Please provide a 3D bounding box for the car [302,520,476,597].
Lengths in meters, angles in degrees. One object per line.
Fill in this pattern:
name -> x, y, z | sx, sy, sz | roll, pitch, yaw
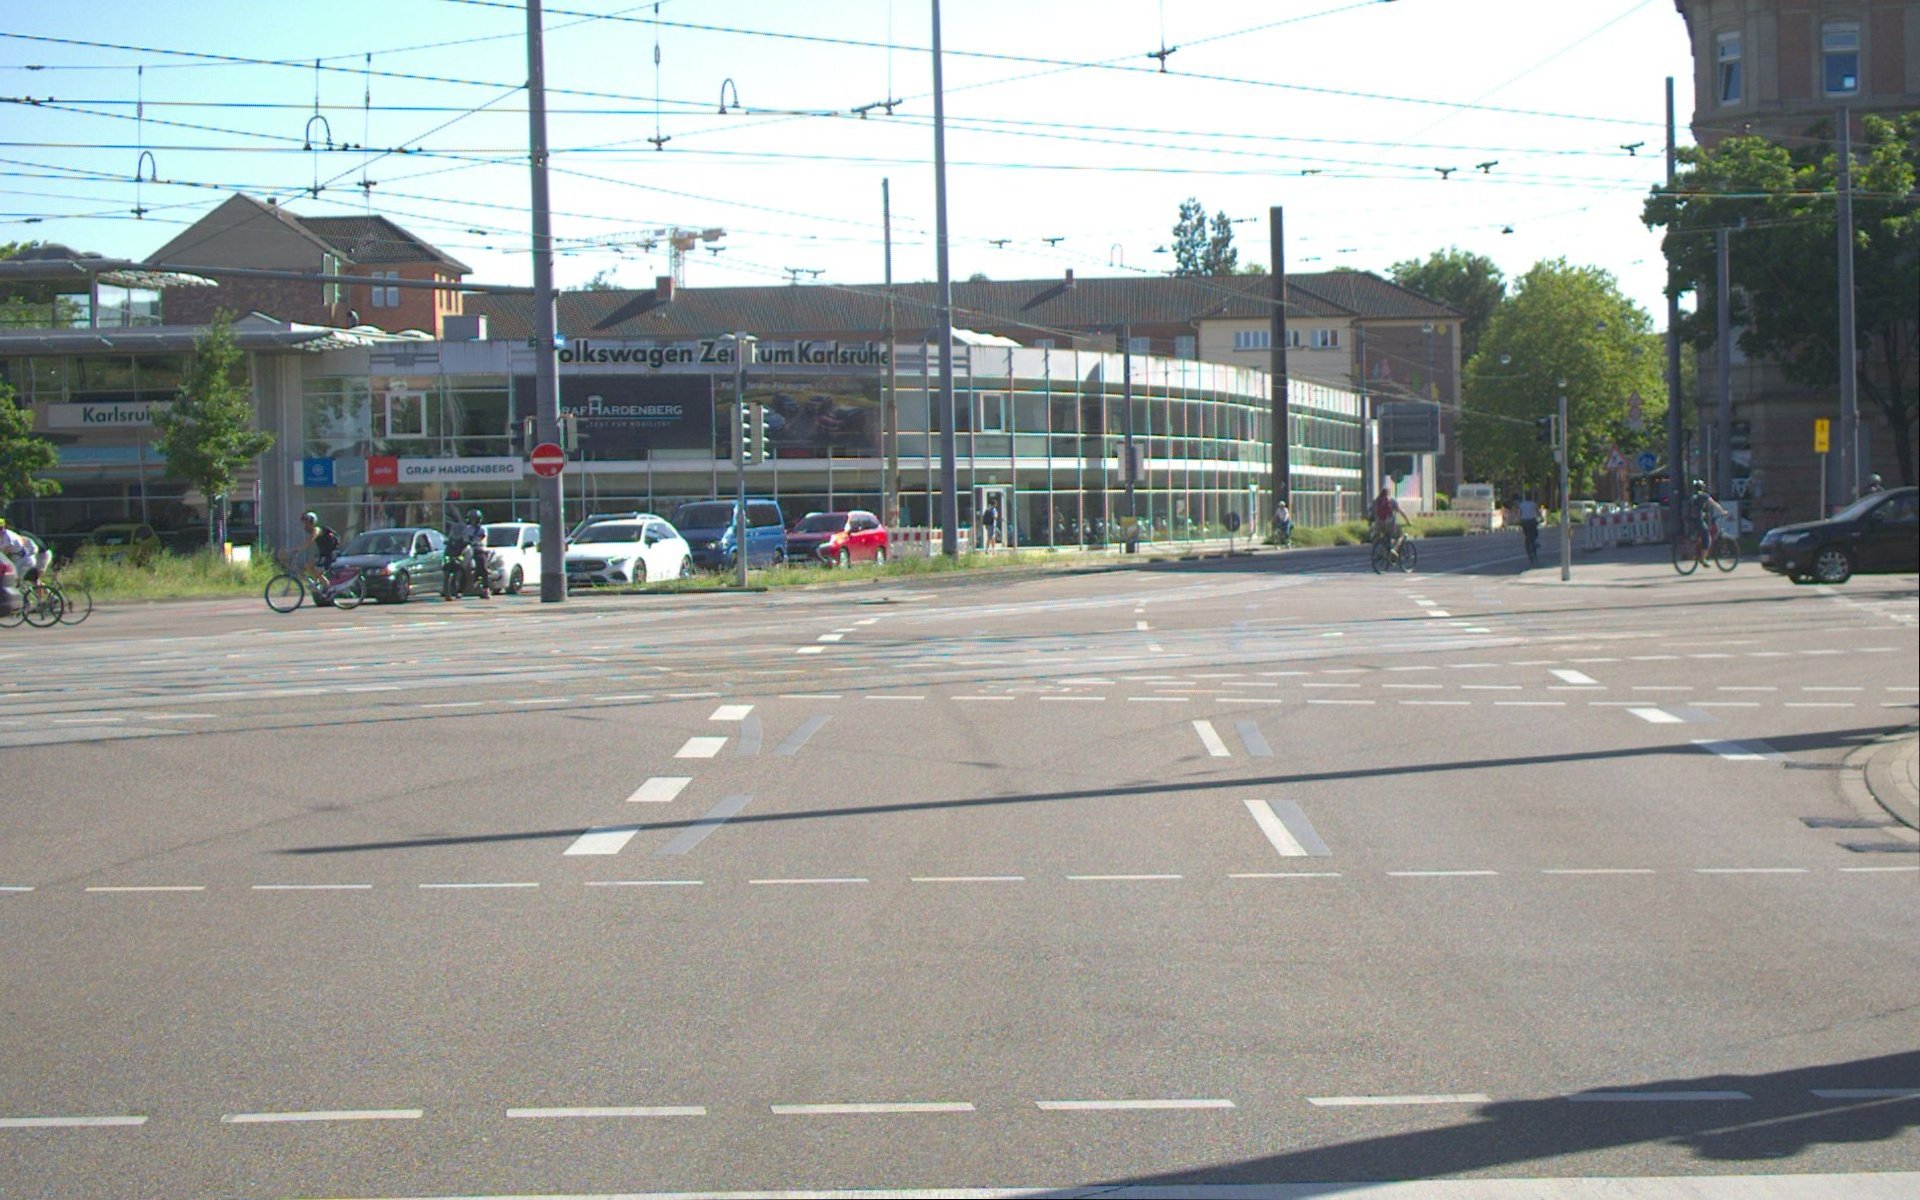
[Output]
car -> -10.697, -0.797, 64.635 | 1.705, 1.349, 3.698 | 0, 2, 17

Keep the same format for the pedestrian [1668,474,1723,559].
pedestrian -> 14.301, -1.624, 66.835 | 0.716, 1.626, 0.758 | -2, 2, -42

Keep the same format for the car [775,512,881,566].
car -> -3.421, -1.606, 89.762 | 1.627, 1.359, 3.683 | -1, 1, 17

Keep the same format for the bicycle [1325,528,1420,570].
bicycle -> 8.828, -1.097, 73.552 | 1.924, 0.867, 0.745 | -1, 1, -27

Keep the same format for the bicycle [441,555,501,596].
bicycle -> -9.096, -0.465, 63.978 | 0.423, 0.715, 1.633 | -1, 2, 17

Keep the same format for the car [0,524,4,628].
car -> -15.166, -0.294, 46.439 | 4.209, 1.396, 1.859 | -1, 2, -19

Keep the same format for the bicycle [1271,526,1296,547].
bicycle -> 11.766, -2.309, 124.961 | 0.423, 0.715, 1.473 | 0, 2, 26

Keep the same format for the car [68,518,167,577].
car -> -25.402, -1.592, 103.801 | 1.966, 1.700, 4.083 | -1, 1, 0

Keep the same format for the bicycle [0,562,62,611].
bicycle -> -15.206, -0.214, 54.854 | 1.629, 0.756, 0.424 | -2, 1, -22

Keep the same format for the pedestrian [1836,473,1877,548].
pedestrian -> 18.391, -1.839, 70.535 | 0.548, 1.511, 0.705 | 0, 2, 42

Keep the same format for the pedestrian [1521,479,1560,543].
pedestrian -> 14.020, -2.155, 83.036 | 0.747, 1.517, 0.717 | 0, 1, 24

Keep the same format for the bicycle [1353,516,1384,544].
bicycle -> 15.913, -2.738, 133.888 | 0.810, 1.041, 2.125 | -1, 1, 18

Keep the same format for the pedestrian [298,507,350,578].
pedestrian -> -10.985, -0.994, 59.398 | 0.793, 1.200, 0.560 | -1, 1, -18

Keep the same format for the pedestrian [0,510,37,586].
pedestrian -> -15.149, -0.825, 54.868 | 0.747, 1.200, 0.424 | -1, 1, -22

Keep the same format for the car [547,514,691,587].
car -> -6.782, -1.003, 68.661 | 1.627, 1.377, 3.735 | -1, 1, 15

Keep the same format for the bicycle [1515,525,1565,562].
bicycle -> 13.997, -1.368, 82.975 | 0.744, 0.867, 1.929 | 0, 1, 23

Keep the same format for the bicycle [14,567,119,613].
bicycle -> -14.745, -0.162, 56.754 | 1.629, 0.715, 0.424 | -1, 1, -19

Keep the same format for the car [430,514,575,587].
car -> -9.360, -1.040, 70.572 | 1.627, 1.419, 3.683 | -1, 1, 15

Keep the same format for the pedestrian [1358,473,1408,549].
pedestrian -> 9.064, -1.903, 73.710 | 0.715, 1.626, 0.805 | -1, 1, -28

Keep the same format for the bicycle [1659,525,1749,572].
bicycle -> 14.509, -1.008, 67.025 | 1.926, 0.867, 0.745 | -2, 2, -42

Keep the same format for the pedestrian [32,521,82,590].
pedestrian -> -14.895, -0.739, 56.695 | 0.747, 1.123, 0.424 | -1, 1, -19

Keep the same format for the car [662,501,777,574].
car -> -5.749, -1.527, 82.661 | 1.627, 1.686, 3.683 | -1, 1, 15

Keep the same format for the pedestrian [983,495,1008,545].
pedestrian -> 1.220, -2.714, 116.954 | 0.543, 1.683, 0.629 | 0, 2, 42

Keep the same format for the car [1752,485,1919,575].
car -> 16.021, -1.229, 59.351 | 4.250, 1.497, 1.705 | -1, 1, -4

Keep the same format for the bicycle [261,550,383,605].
bicycle -> -11.028, -0.390, 59.398 | 2.004, 0.910, 0.562 | -1, 1, -18

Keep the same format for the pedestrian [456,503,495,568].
pedestrian -> -9.044, -1.206, 64.143 | 0.423, 1.200, 0.749 | -1, 1, 17
